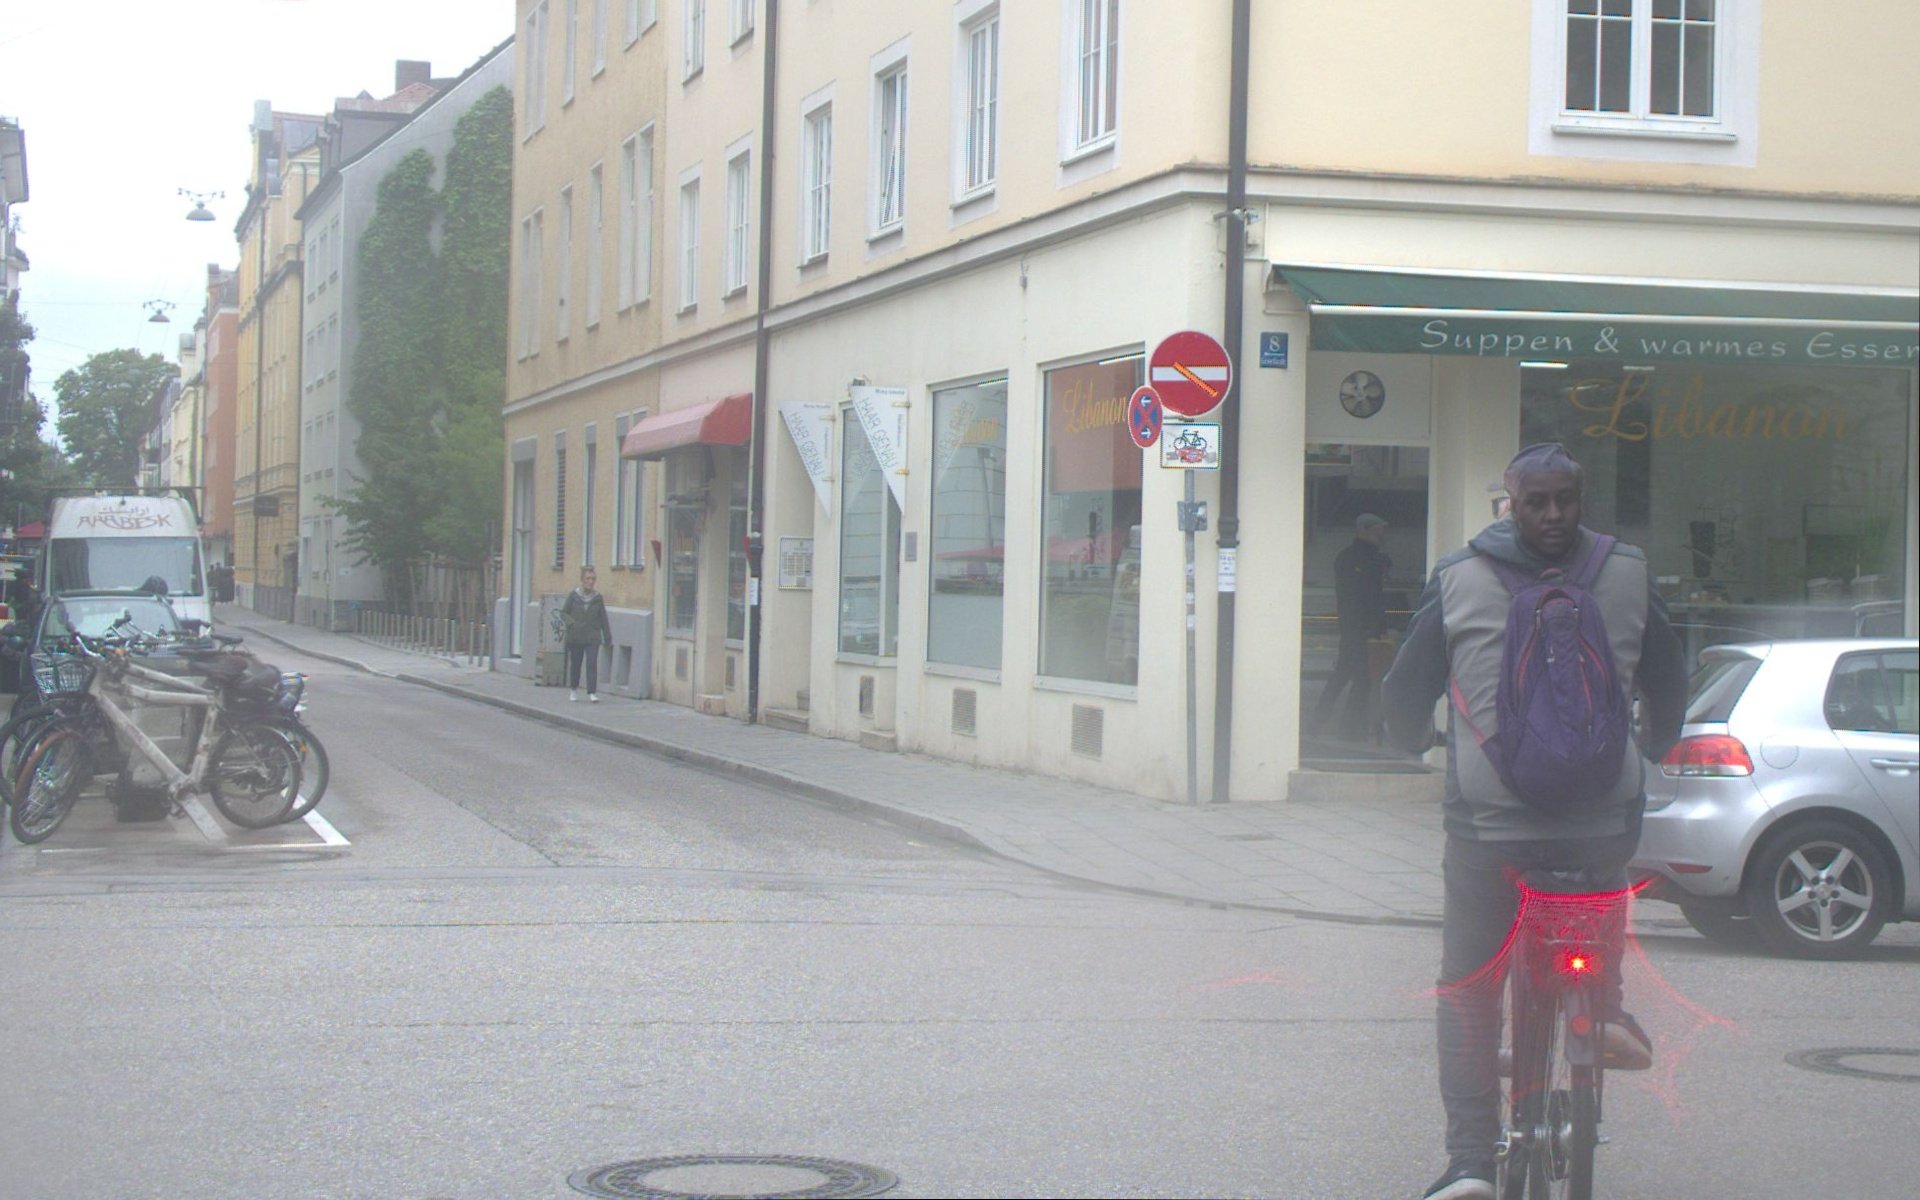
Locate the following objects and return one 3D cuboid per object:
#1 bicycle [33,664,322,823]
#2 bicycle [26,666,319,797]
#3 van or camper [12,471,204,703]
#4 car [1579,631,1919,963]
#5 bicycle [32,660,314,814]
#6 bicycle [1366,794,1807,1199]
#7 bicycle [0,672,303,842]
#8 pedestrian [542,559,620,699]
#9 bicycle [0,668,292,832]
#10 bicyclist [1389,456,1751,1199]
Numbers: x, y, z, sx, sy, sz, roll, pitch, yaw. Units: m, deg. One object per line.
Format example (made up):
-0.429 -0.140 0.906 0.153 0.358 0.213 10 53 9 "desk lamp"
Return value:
-4.965 0.907 21.819 1.735 0.965 0.543 1 0 -17 "bicycle"
-5.431 0.906 23.708 1.910 0.860 0.619 1 0 -17 "bicycle"
-9.922 -0.168 40.302 1.993 2.531 4.762 1 0 -12 "van or camper"
5.031 0.945 15.882 3.987 1.411 1.820 2 -3 0 "car"
-5.133 0.890 22.424 1.735 0.965 0.543 1 0 -17 "bicycle"
1.244 0.964 7.111 0.639 1.001 1.574 2 0 2 "bicycle"
-4.838 0.928 20.438 1.754 0.965 0.595 1 0 -17 "bicycle"
-4.876 0.371 44.222 0.877 1.772 0.774 1 0 -13 "pedestrian"
-5.017 0.915 21.104 1.735 0.965 0.543 1 0 -17 "bicycle"
1.253 0.514 7.174 0.606 1.601 0.757 1 1 2 "bicyclist"
